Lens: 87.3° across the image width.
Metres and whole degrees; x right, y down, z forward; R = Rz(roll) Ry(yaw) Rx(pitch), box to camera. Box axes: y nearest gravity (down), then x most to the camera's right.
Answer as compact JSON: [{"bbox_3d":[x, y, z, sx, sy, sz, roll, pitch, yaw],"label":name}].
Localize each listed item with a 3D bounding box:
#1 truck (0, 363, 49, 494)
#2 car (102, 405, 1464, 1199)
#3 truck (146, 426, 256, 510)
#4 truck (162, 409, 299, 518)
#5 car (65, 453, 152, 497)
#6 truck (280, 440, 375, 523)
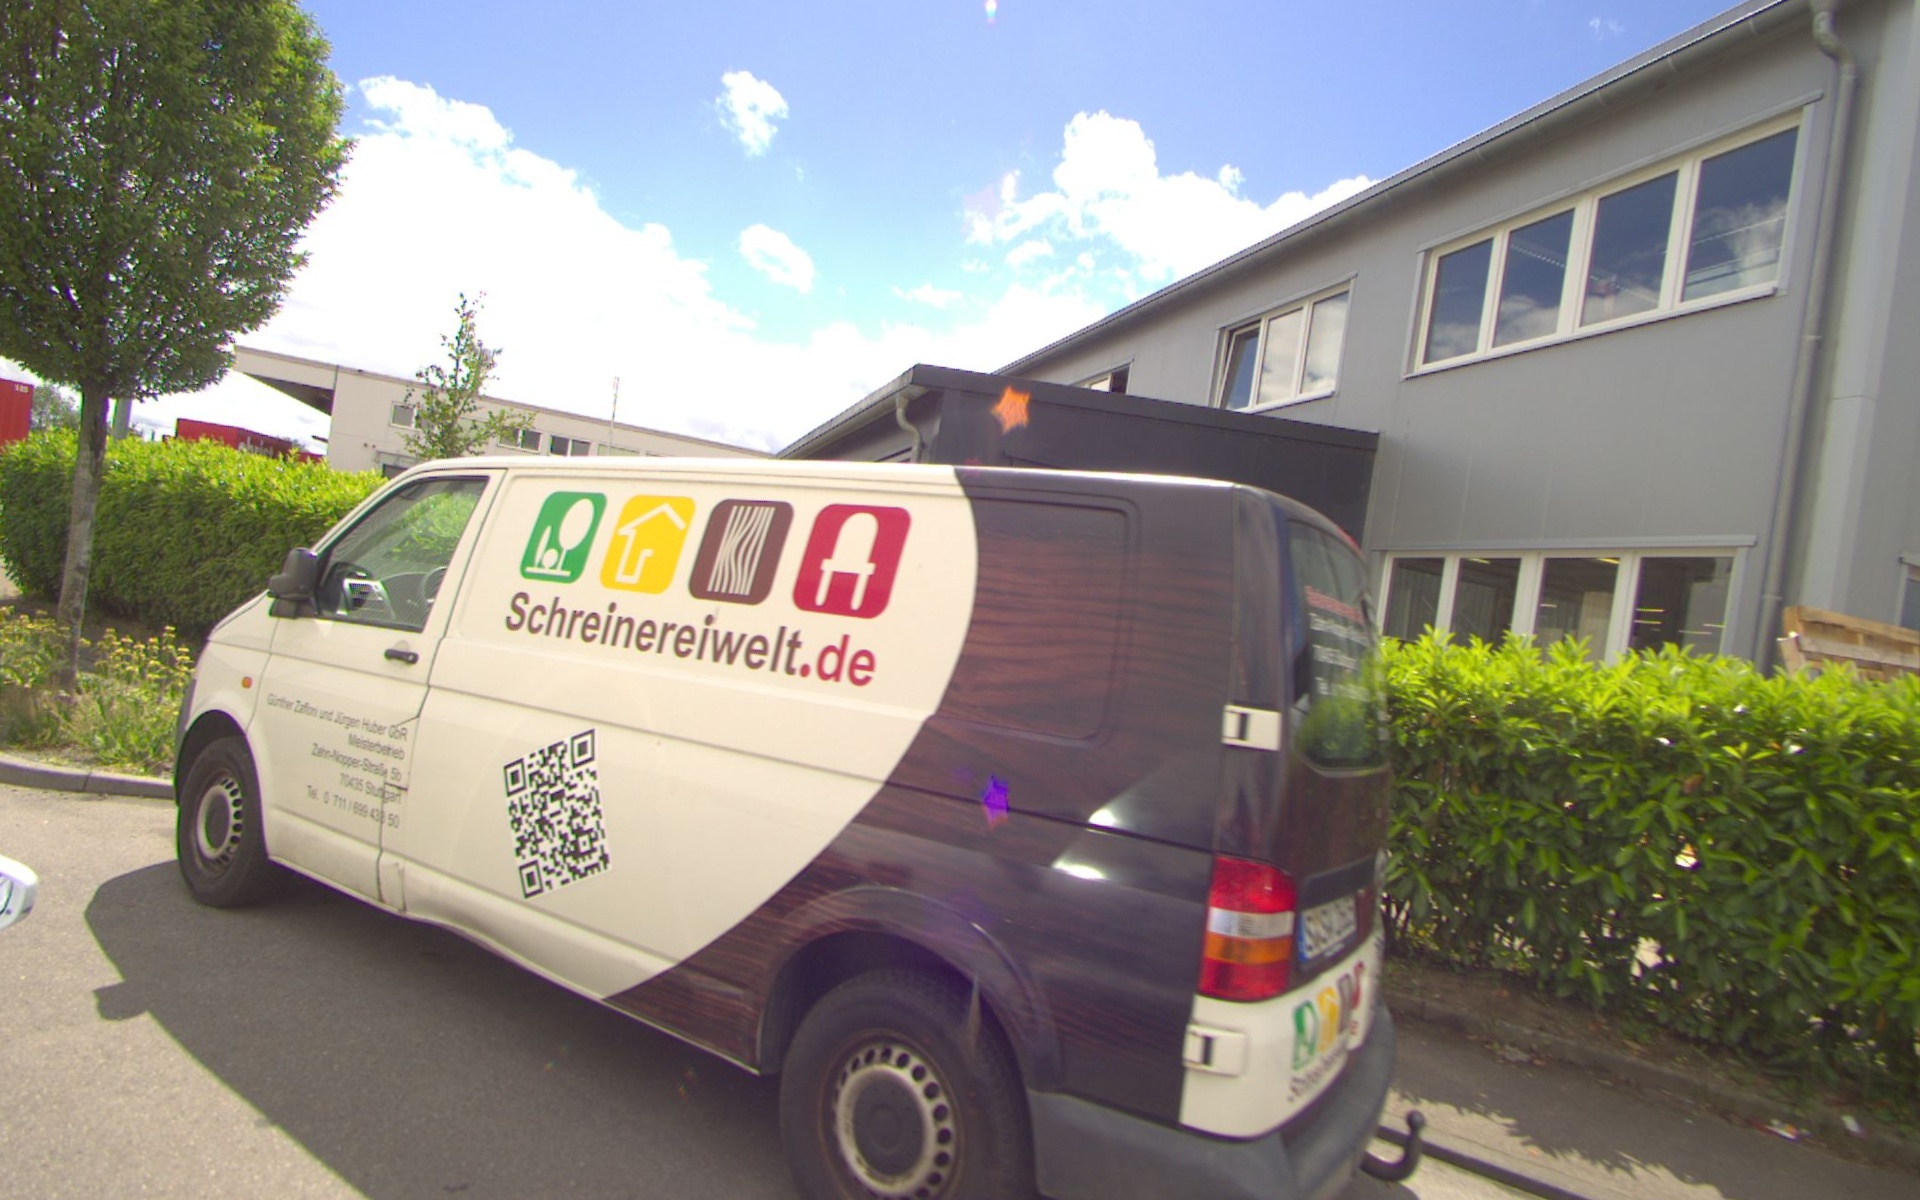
[{"bbox_3d":[-38.597,-6.702,37.621,7.713,4.501,2.585,6,-1,15],"label":"truck"},{"bbox_3d":[-1.053,0.484,3.902,5.058,2.014,1.872,7,-1,32],"label":"car"},{"bbox_3d":[-50.880,-8.723,67.760,2.956,4.106,8.450,7,-2,-18],"label":"truck"},{"bbox_3d":[-37.791,-6.882,52.506,2.956,4.106,8.450,7,-2,-18],"label":"truck"},{"bbox_3d":[-76.477,-11.188,90.508,5.611,2.707,1.981,8,-2,-37],"label":"car"},{"bbox_3d":[-41.885,-7.676,66.940,2.956,4.106,8.450,7,-2,-18],"label":"truck"}]
